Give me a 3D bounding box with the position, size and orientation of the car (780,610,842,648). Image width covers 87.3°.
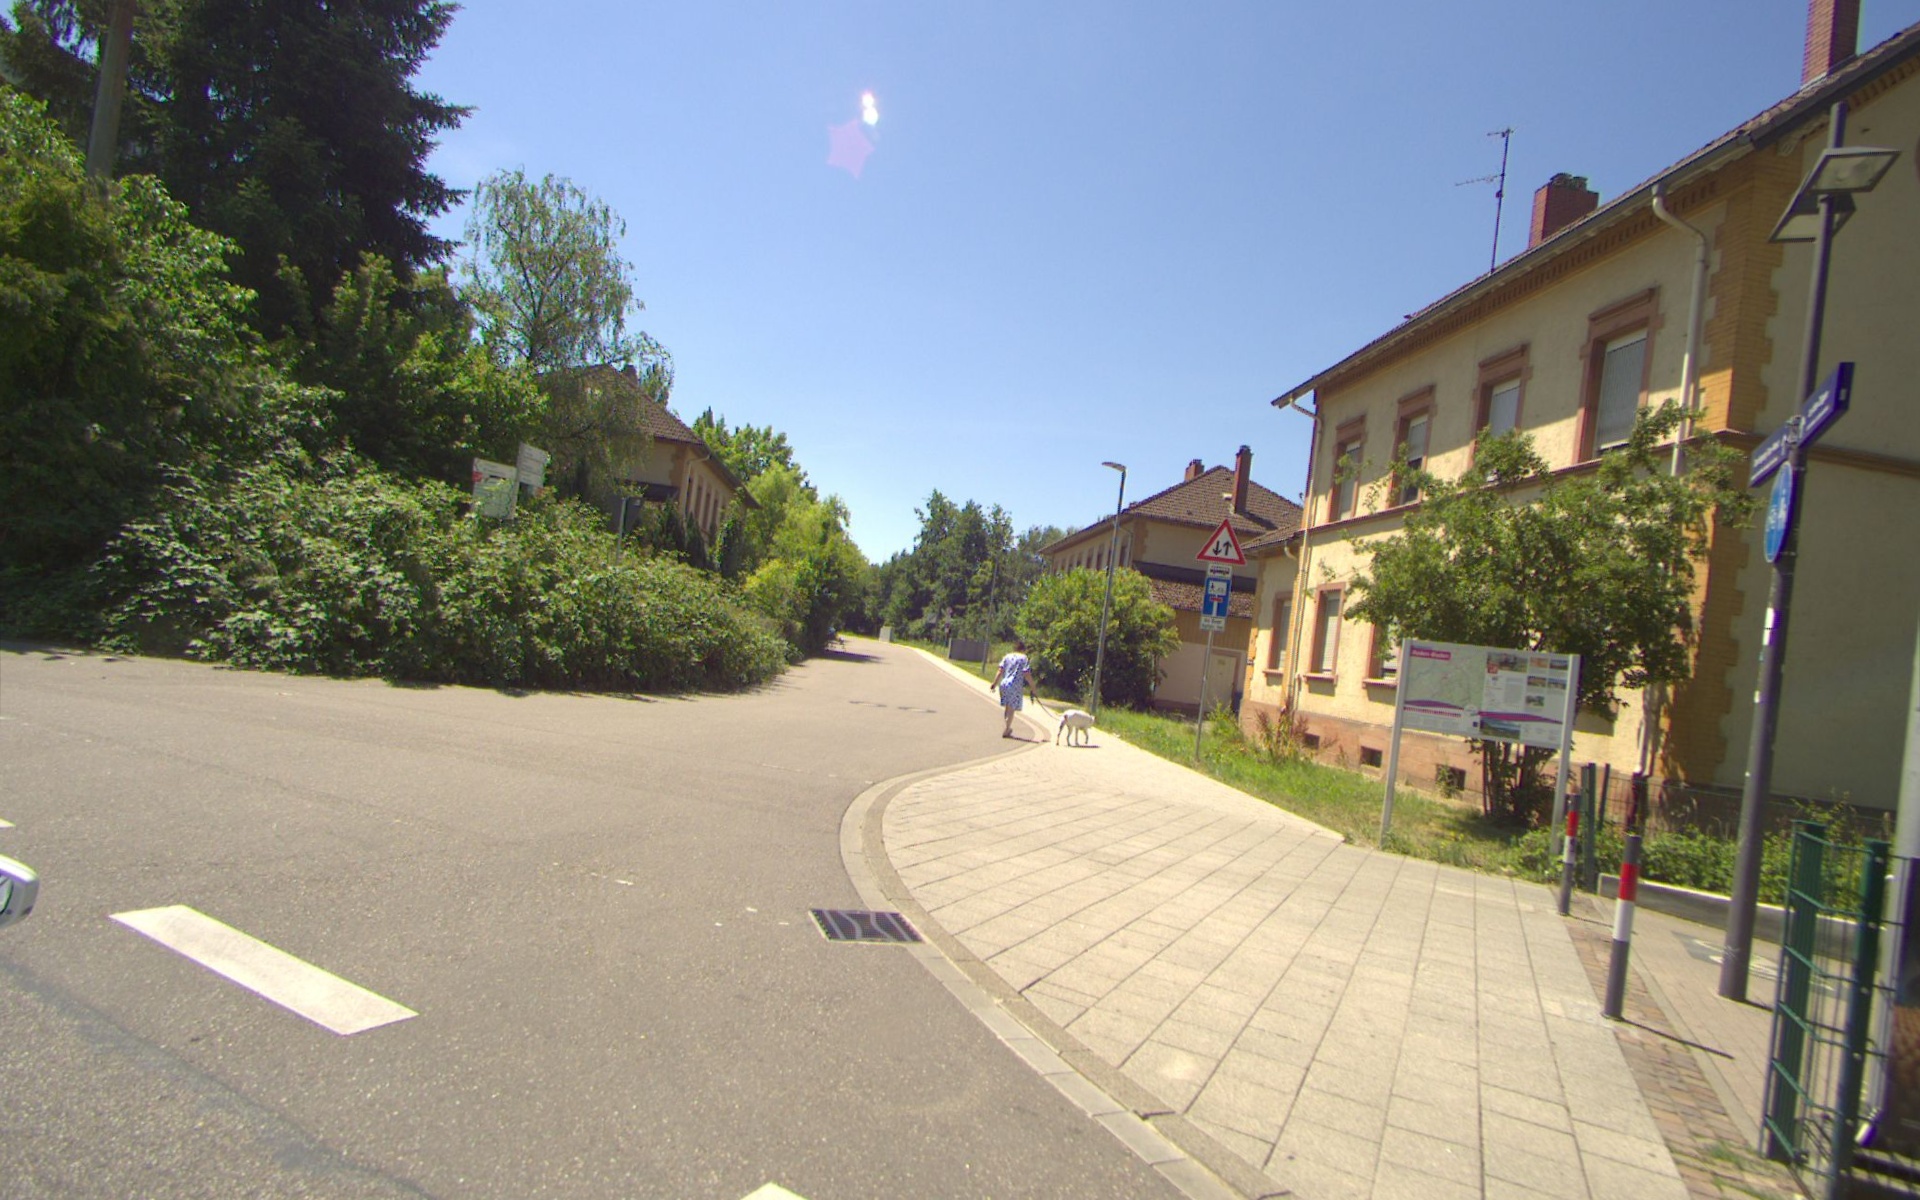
[{"bbox_3d":[-11.768,2.320,79.757,4.378,2.348,2.203,8,-2,-1],"label":"car"}]

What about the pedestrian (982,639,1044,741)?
[{"bbox_3d":[0.913,1.551,17.285,0.688,1.646,0.617,6,-2,29],"label":"pedestrian"}]

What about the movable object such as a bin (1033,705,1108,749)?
[{"bbox_3d":[1.853,2.127,16.784,1.235,0.601,0.511,10,-3,-42],"label":"movable object such as a bin"}]
